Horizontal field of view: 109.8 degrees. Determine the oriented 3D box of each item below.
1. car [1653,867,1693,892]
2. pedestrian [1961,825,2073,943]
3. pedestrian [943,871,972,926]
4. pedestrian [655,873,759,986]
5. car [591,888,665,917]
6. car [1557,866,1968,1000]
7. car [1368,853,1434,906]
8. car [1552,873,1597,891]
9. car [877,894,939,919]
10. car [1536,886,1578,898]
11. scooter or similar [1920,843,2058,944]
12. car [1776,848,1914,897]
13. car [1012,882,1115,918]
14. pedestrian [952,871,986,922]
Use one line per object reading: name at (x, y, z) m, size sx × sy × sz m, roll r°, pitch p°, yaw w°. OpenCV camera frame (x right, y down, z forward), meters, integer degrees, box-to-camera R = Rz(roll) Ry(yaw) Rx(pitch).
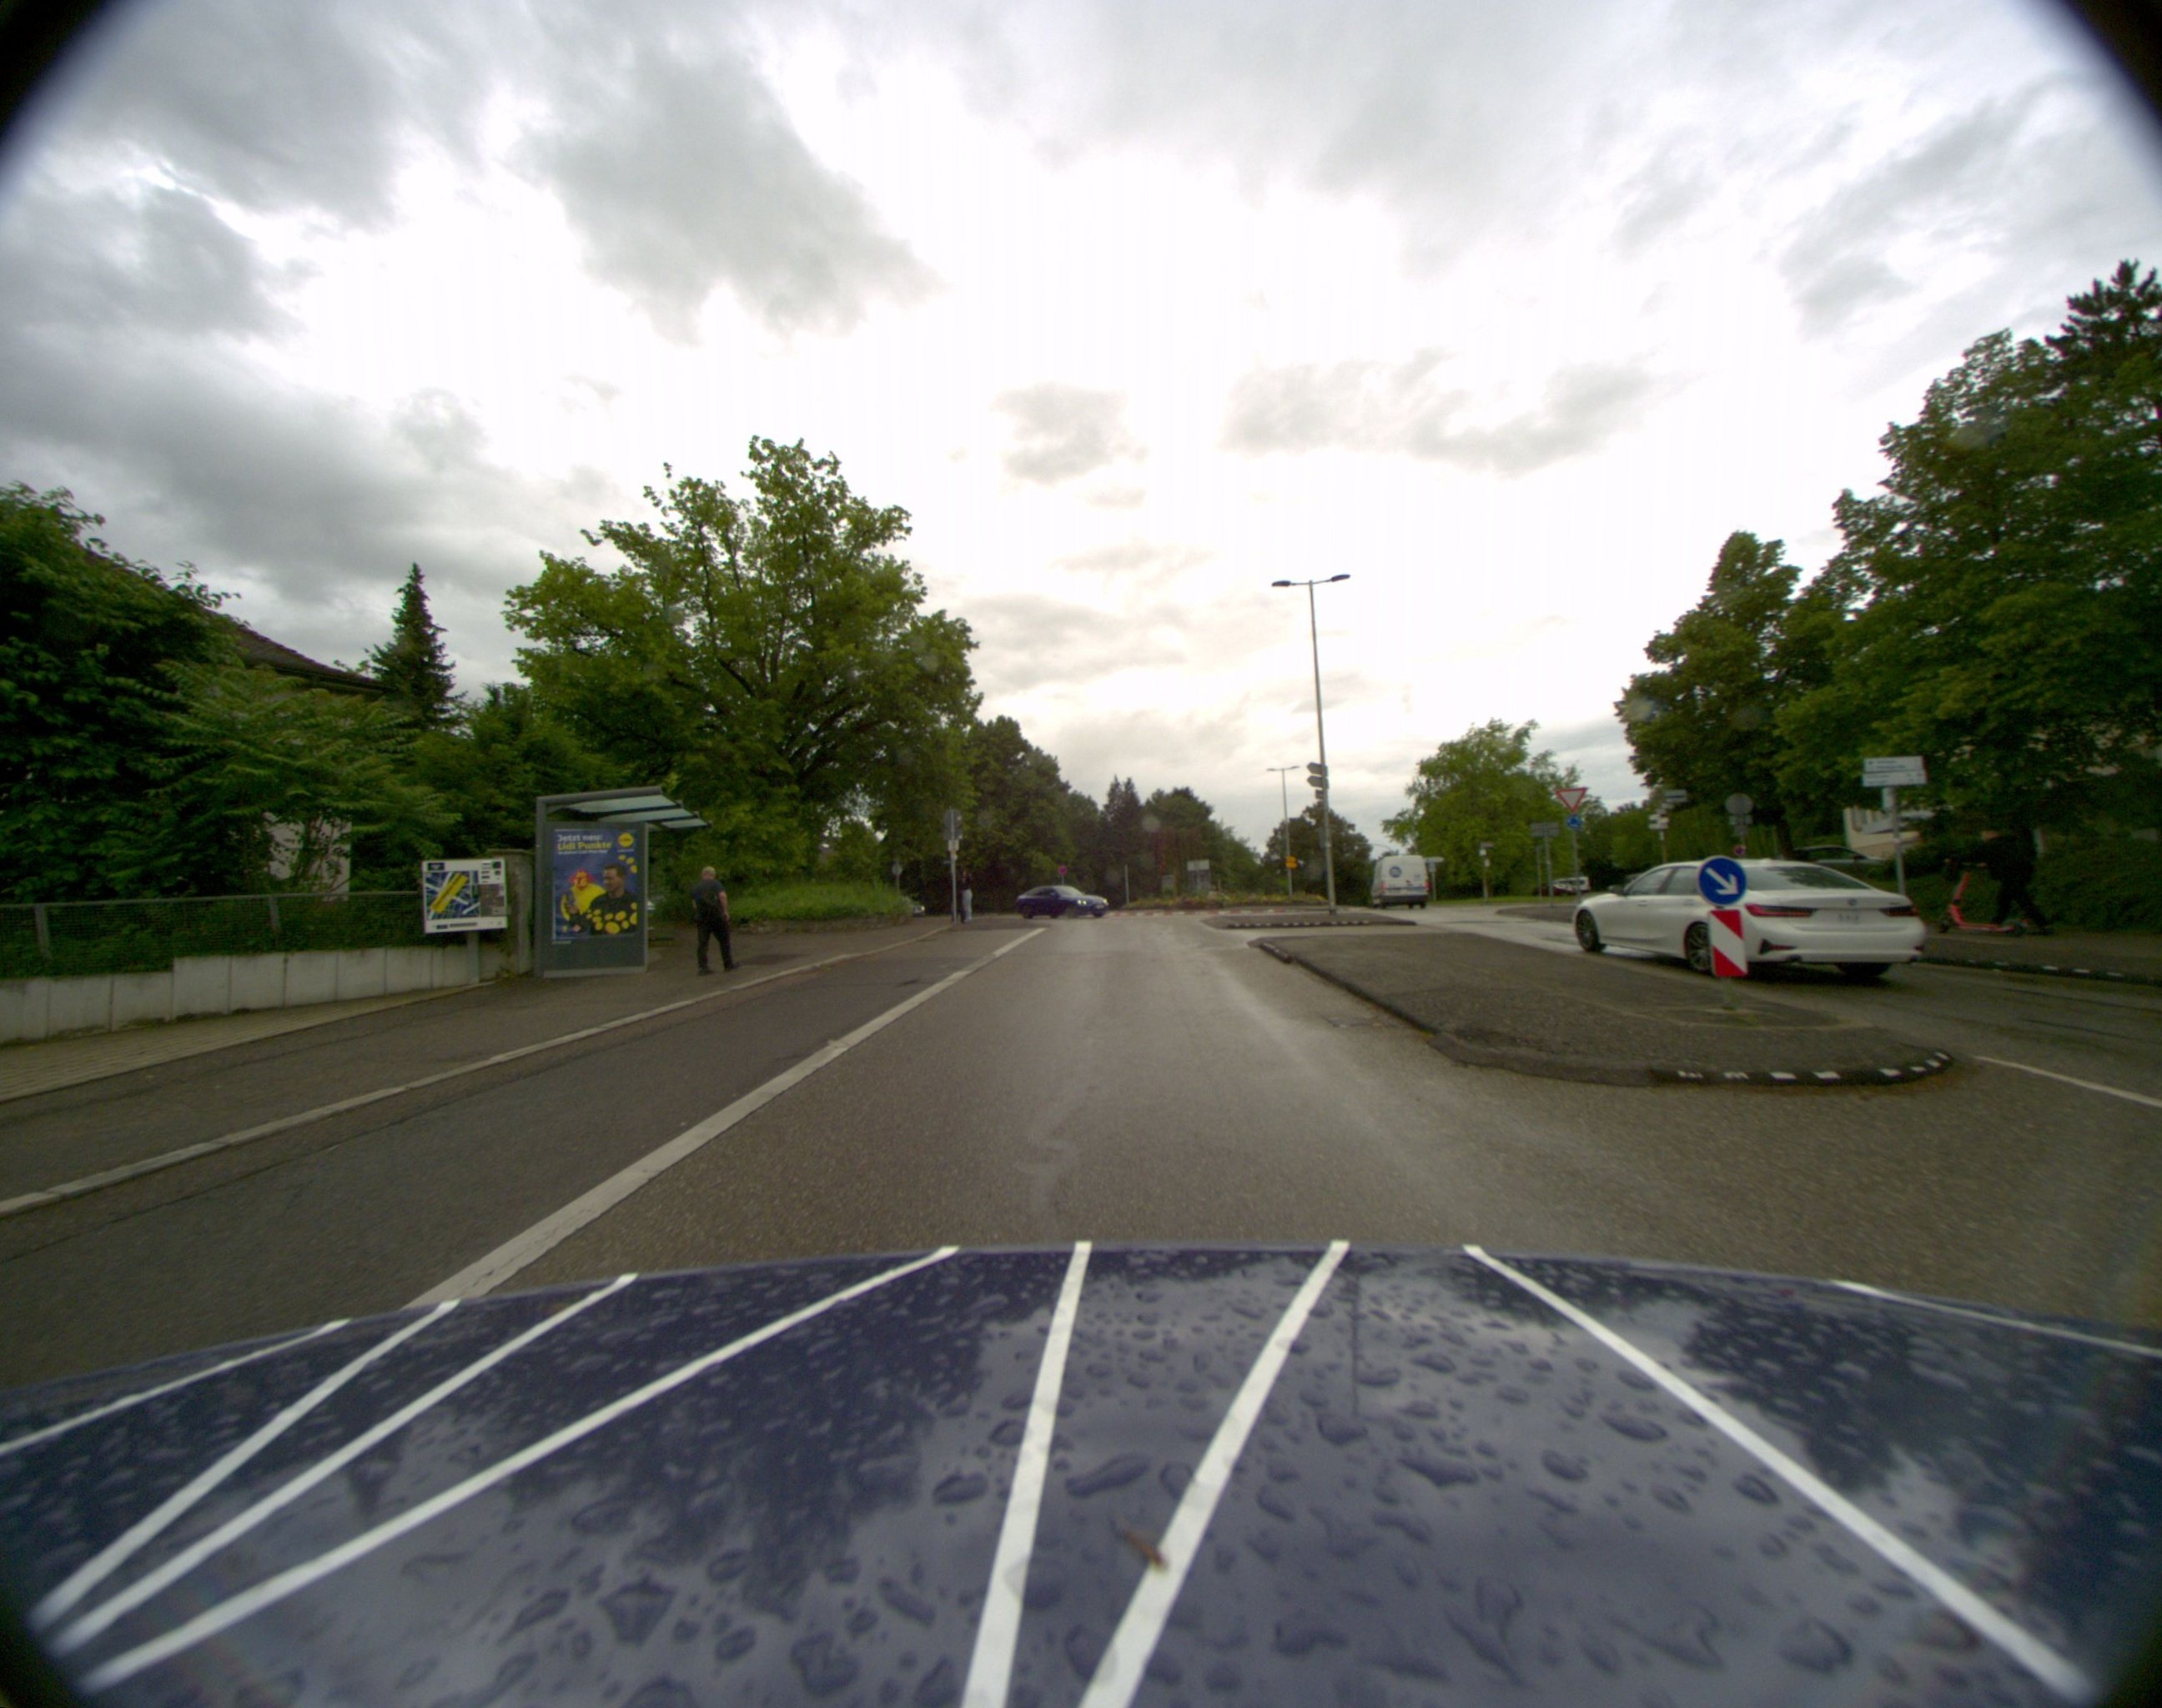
car at (40.426, 1.743, 51.945) m, size 1.693 × 1.604 × 4.347 m, roll -1°, pitch -1°, yaw 32°
pedestrian at (14.827, 0.466, 12.062) m, size 0.704 × 1.796 × 0.826 m, roll -1°, pitch -1°, yaw 3°
pedestrian at (-3.927, 1.396, 24.236) m, size 0.725 × 1.722 × 0.819 m, roll -1°, pitch -1°, yaw 3°
pedestrian at (-5.748, 1.123, 11.723) m, size 0.926 × 1.645 × 1.100 m, roll -1°, pitch -1°, yaw 19°
car at (-24.214, 2.618, 40.570) m, size 4.374 × 1.406 × 1.867 m, roll -4°, pitch -3°, yaw 37°
car at (8.699, 0.888, 10.456) m, size 1.831 × 1.393 × 4.825 m, roll -1°, pitch -1°, yaw 8°
car at (15.488, 1.323, 37.082) m, size 2.170 × 2.399 × 5.405 m, roll -1°, pitch -4°, yaw 14°
car at (67.396, 3.873, 103.791) m, size 4.903 × 2.286 × 1.796 m, roll -2°, pitch -5°, yaw 40°
car at (-10.926, 3.299, 47.833) m, size 1.867 × 1.406 × 4.375 m, roll 0°, pitch -3°, yaw -43°
car at (53.783, 4.269, 85.901) m, size 3.846 × 1.302 × 1.564 m, roll -2°, pitch -6°, yaw 40°
scooter or similar at (14.387, 0.611, 12.087) m, size 0.510 × 1.507 × 1.318 m, roll -1°, pitch -1°, yaw -6°
car at (24.865, 0.621, 24.870) m, size 2.816 × 1.532 × 1.701 m, roll -2°, pitch -2°, yaw 31°
car at (-0.846, 2.067, 33.746) m, size 4.659 × 1.428 × 1.767 m, roll -5°, pitch -4°, yaw 45°
pedestrian at (-3.717, 1.396, 25.179) m, size 0.723 × 1.645 × 0.821 m, roll -2°, pitch -1°, yaw 40°
